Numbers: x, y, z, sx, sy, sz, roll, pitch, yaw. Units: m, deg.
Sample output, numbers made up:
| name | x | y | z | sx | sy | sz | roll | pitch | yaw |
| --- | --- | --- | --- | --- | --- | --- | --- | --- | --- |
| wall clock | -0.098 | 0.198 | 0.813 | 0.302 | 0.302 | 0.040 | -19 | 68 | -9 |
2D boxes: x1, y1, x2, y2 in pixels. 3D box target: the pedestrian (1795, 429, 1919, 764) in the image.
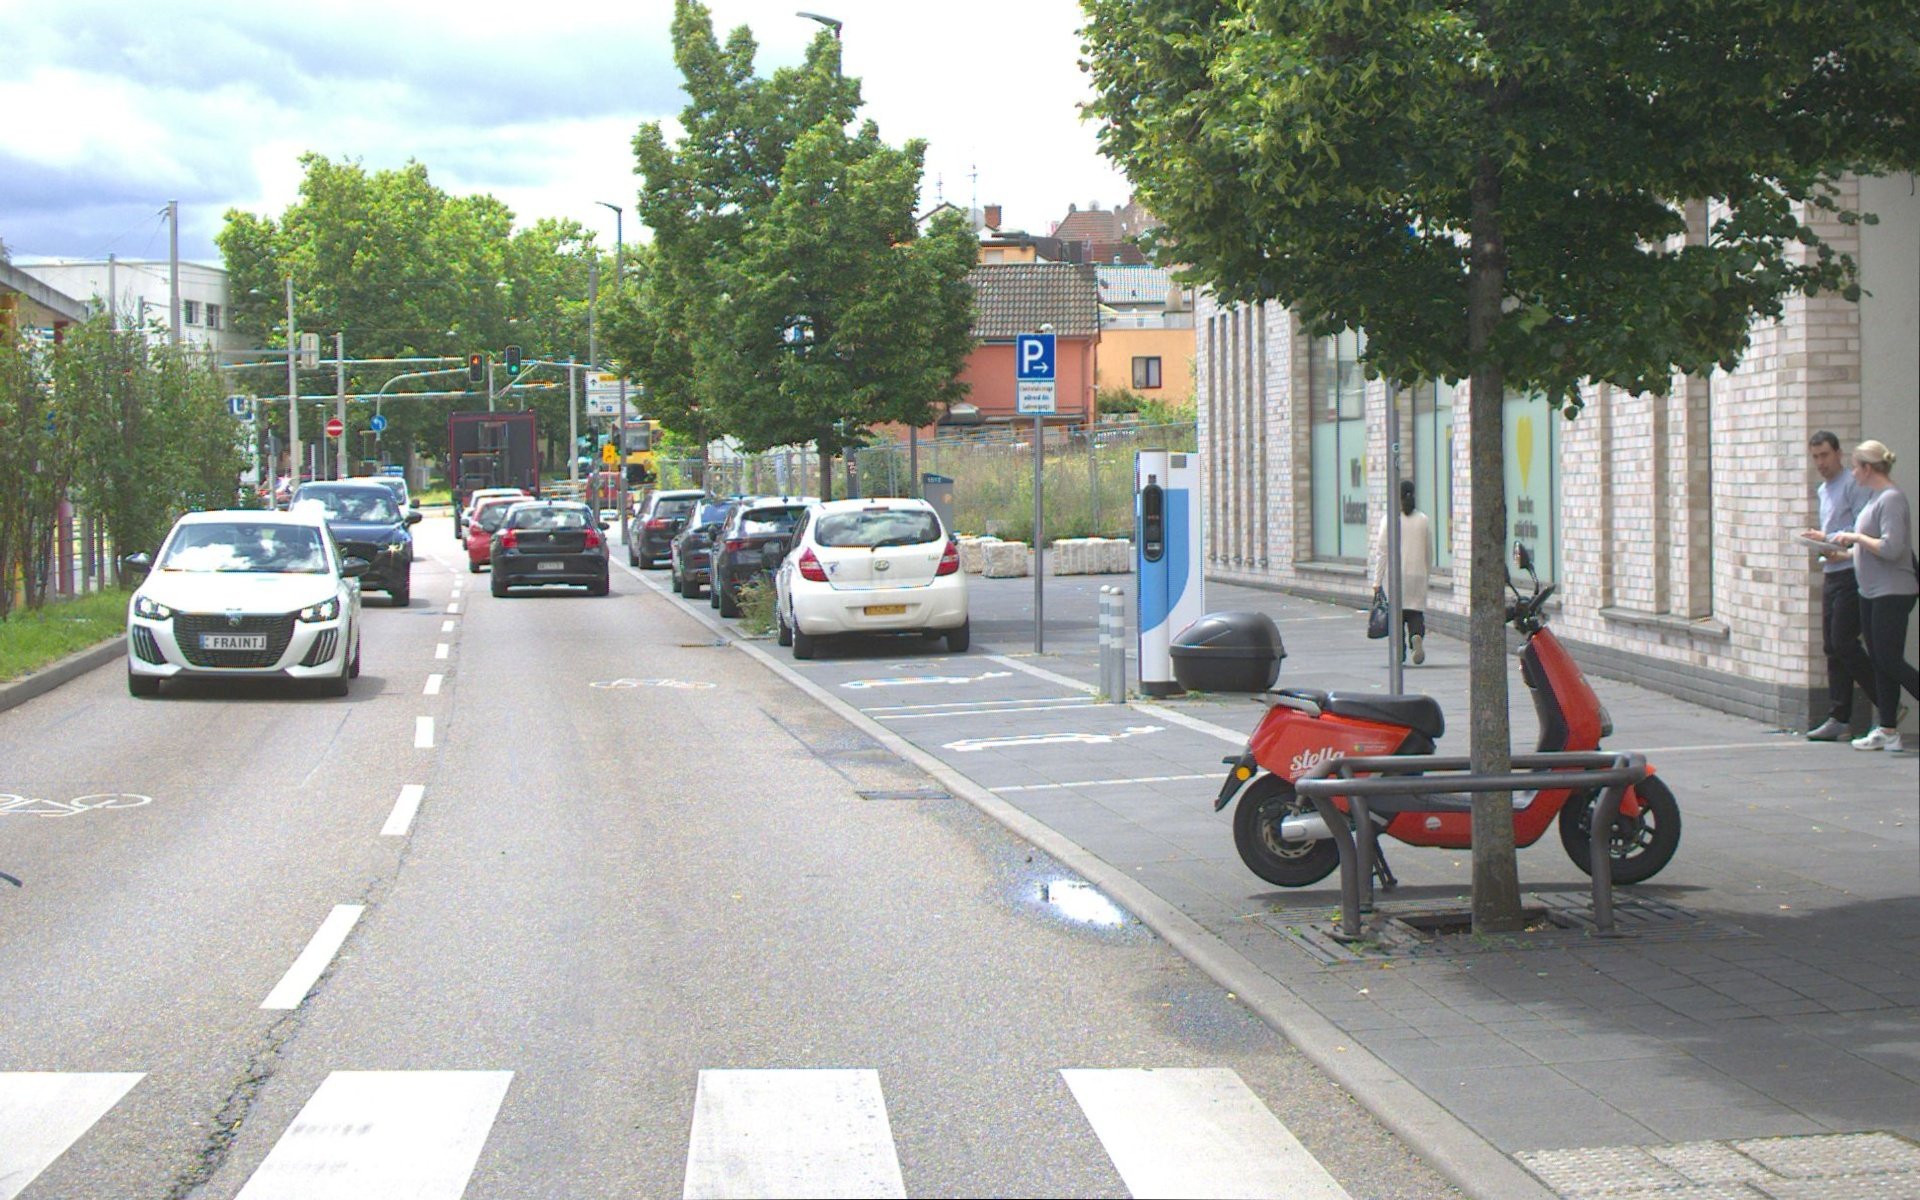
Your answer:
| name | x | y | z | sx | sy | sz | roll | pitch | yaw |
| --- | --- | --- | --- | --- | --- | --- | --- | --- | --- |
| pedestrian | 5.066 | -0.028 | 18.574 | 0.732 | 1.760 | 0.758 | -2 | 1 | -21 |

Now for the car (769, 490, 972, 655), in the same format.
| name | x | y | z | sx | sy | sz | roll | pitch | yaw |
| --- | --- | --- | --- | --- | --- | --- | --- | --- | --- |
| car | -0.941 | -0.319 | 34.144 | 1.692 | 1.478 | 3.798 | -2 | 2 | -6 |

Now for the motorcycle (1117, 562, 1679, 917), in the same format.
| name | x | y | z | sx | sy | sz | roll | pitch | yaw |
| --- | --- | --- | --- | --- | --- | --- | --- | --- | --- |
| motorcycle | 1.698 | 0.532 | 13.296 | 2.051 | 1.261 | 0.672 | -2 | 1 | 11 |

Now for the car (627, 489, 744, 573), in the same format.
| name | x | y | z | sx | sy | sz | roll | pitch | yaw |
| --- | --- | --- | --- | --- | --- | --- | --- | --- | --- |
| car | -5.170 | -1.323 | 64.325 | 1.781 | 1.446 | 4.477 | -3 | 2 | -9 |

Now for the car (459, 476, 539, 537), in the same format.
| name | x | y | z | sx | sy | sz | roll | pitch | yaw |
| --- | --- | --- | --- | --- | --- | --- | --- | --- | --- |
| car | -11.735 | -2.356 | 87.272 | 1.887 | 1.460 | 4.070 | -2 | 1 | -9 |

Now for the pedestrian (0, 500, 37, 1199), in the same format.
| name | x | y | z | sx | sy | sz | roll | pitch | yaw |
| --- | --- | --- | --- | --- | --- | --- | --- | --- | --- |
| pedestrian | -2.583 | 0.561 | 7.657 | 0.927 | 1.560 | 0.815 | 0 | 0 | -9 |

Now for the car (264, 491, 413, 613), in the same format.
| name | x | y | z | sx | sy | sz | roll | pitch | yaw |
| --- | --- | --- | --- | --- | --- | --- | --- | --- | --- |
| car | -8.577 | -0.692 | 47.653 | 1.919 | 1.599 | 4.628 | 0 | 2 | -9 |

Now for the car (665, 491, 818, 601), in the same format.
| name | x | y | z | sx | sy | sz | roll | pitch | yaw |
| --- | --- | --- | --- | --- | --- | --- | --- | --- | --- |
| car | -3.219 | -0.826 | 49.879 | 1.864 | 1.446 | 4.645 | -2 | 2 | -7 |

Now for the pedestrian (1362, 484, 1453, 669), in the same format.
| name | x | y | z | sx | sy | sz | roll | pitch | yaw |
| --- | --- | --- | --- | --- | --- | --- | --- | --- | --- |
| pedestrian | 3.647 | -0.199 | 28.055 | 0.607 | 1.467 | 0.791 | -2 | 2 | 1 |

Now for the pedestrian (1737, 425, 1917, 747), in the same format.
| name | x | y | z | sx | sy | sz | roll | pitch | yaw |
| --- | --- | --- | --- | --- | --- | --- | --- | --- | --- |
| pedestrian | 4.862 | -0.083 | 19.302 | 0.735 | 1.760 | 0.624 | -2 | 0 | -13 |

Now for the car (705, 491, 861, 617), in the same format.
| name | x | y | z | sx | sy | sz | roll | pitch | yaw |
| --- | --- | --- | --- | --- | --- | --- | --- | --- | --- |
| car | -2.282 | -0.624 | 43.510 | 1.692 | 1.456 | 4.148 | -2 | 2 | -6 |

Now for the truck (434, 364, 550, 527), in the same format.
| name | x | y | z | sx | sy | sz | roll | pitch | yaw |
| --- | --- | --- | --- | --- | --- | --- | --- | --- | --- |
| truck | -14.078 | -4.508 | 102.907 | 3.202 | 4.520 | 9.031 | 0 | 0 | -9 |

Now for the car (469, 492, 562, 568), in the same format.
| name | x | y | z | sx | sy | sz | roll | pitch | yaw |
| --- | --- | --- | --- | --- | --- | --- | --- | --- | --- |
| car | -8.848 | -1.412 | 68.270 | 1.711 | 1.388 | 3.810 | -2 | 2 | -9 |

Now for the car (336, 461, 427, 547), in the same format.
| name | x | y | z | sx | sy | sz | roll | pitch | yaw |
| --- | --- | --- | --- | --- | --- | --- | --- | --- | --- |
| car | -13.403 | -2.226 | 79.715 | 2.003 | 1.910 | 5.066 | 0 | 2 | -10 |

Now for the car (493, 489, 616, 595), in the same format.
| name | x | y | z | sx | sy | sz | roll | pitch | yaw |
| --- | --- | --- | --- | --- | --- | --- | --- | --- | --- |
| car | -6.113 | -0.900 | 51.680 | 1.726 | 1.451 | 3.810 | -2 | 2 | -7 |

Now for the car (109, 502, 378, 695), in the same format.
| name | x | y | z | sx | sy | sz | roll | pitch | yaw |
| --- | --- | --- | --- | --- | --- | --- | --- | --- | --- |
| car | -5.793 | -0.062 | 28.177 | 1.811 | 1.464 | 3.909 | 0 | 2 | -7 |
